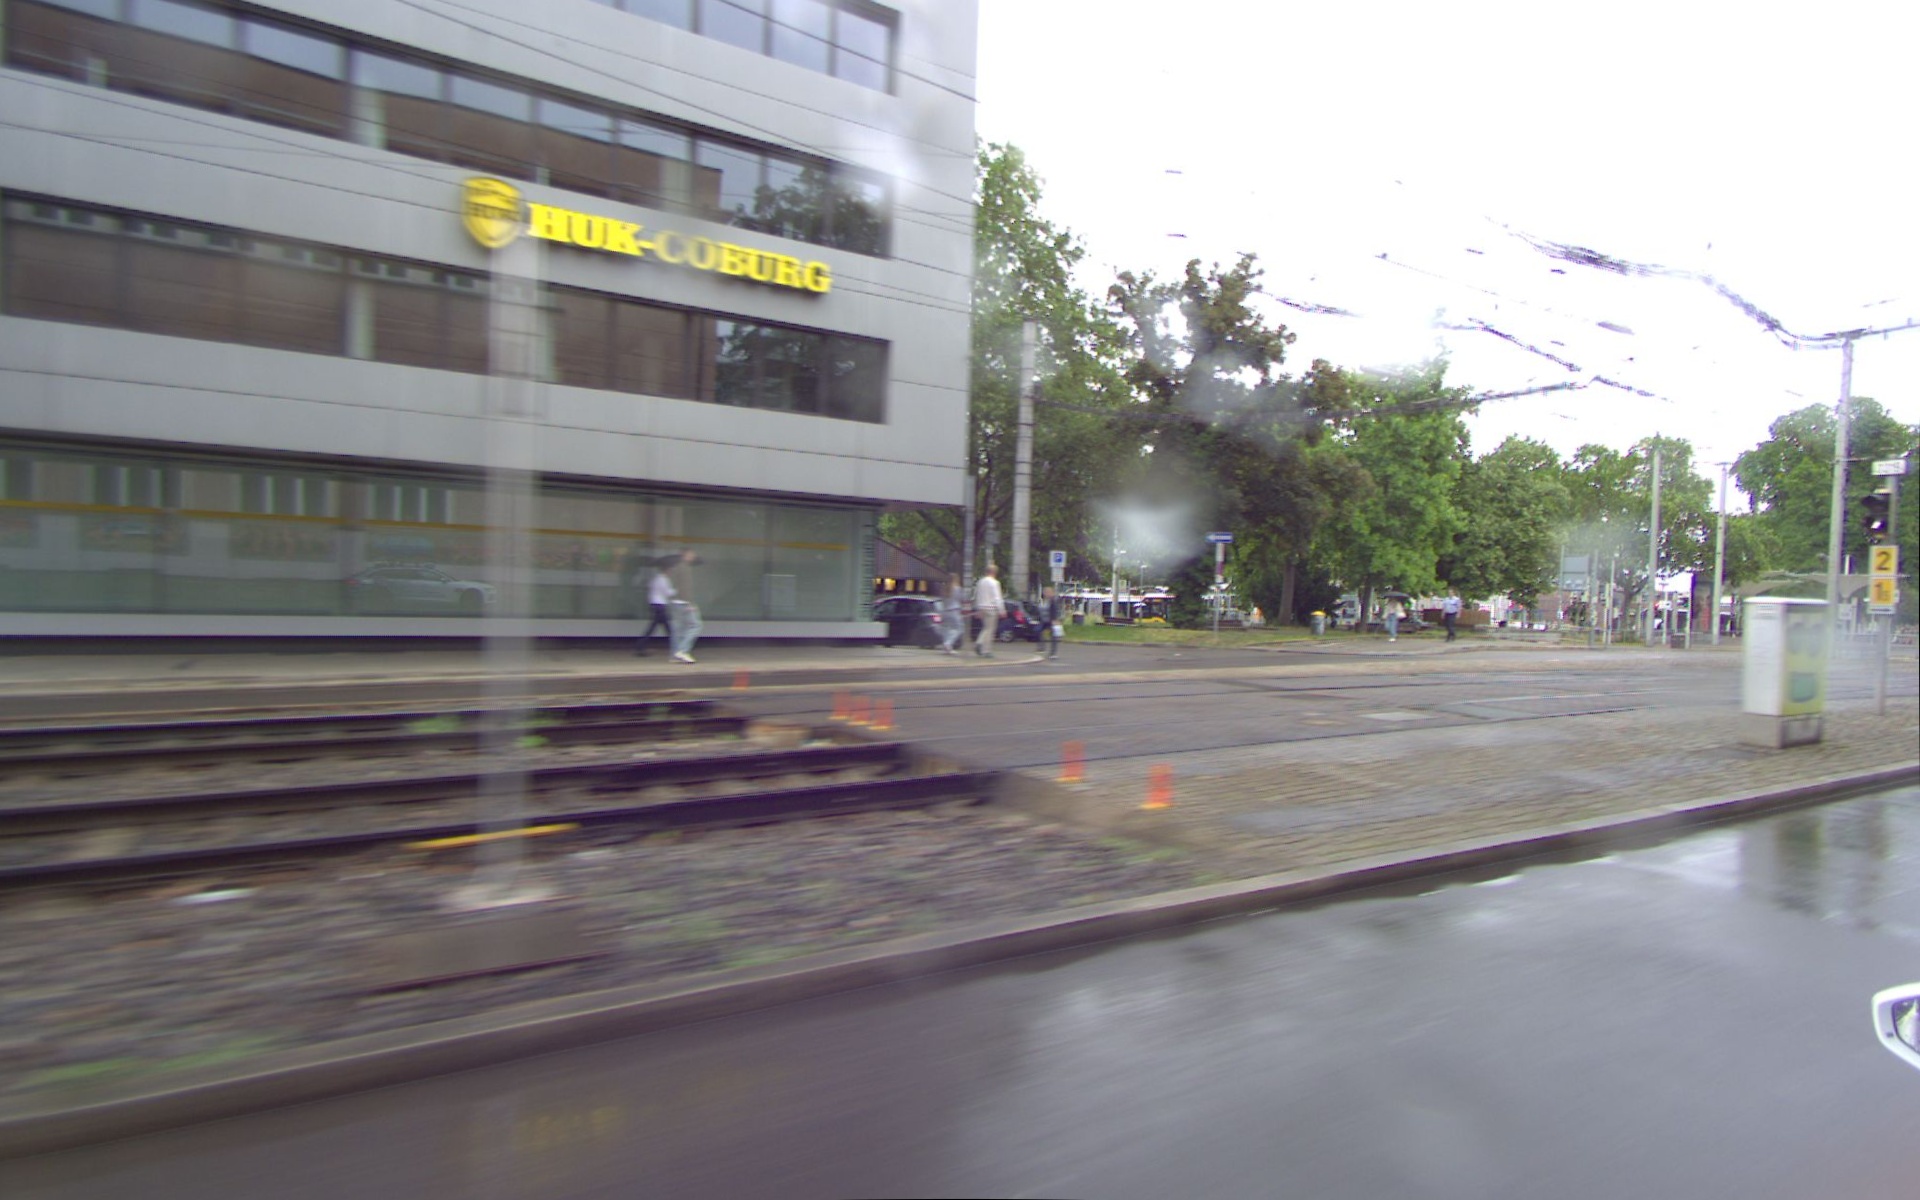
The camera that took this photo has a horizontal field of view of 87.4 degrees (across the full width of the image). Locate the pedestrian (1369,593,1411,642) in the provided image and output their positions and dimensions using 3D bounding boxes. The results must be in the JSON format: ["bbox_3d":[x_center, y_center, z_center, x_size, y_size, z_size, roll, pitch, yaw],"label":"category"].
[{"bbox_3d":[14.824,0.591,34.634,0.989,1.615,0.908,5,3,42],"label":"pedestrian"}]

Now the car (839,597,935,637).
[{"bbox_3d":[-2.875,0.641,39.459,3.481,1.467,1.698,1,0,34],"label":"car"}]

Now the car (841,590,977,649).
[{"bbox_3d":[-1.511,0.533,29.069,3.680,1.571,1.697,1,0,36],"label":"car"}]

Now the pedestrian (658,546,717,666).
[{"bbox_3d":[-4.769,0.099,17.563,0.801,2.041,0.658,1,3,-30],"label":"pedestrian"}]

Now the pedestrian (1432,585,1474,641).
[{"bbox_3d":[17.568,0.451,35.822,0.895,1.888,1.003,3,2,-1],"label":"pedestrian"}]

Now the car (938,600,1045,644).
[{"bbox_3d":[1.107,0.753,35.793,3.484,1.467,1.696,1,0,38],"label":"car"}]

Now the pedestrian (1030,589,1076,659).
[{"bbox_3d":[2.229,0.561,24.076,0.947,1.615,0.589,3,3,15],"label":"pedestrian"}]

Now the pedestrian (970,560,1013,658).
[{"bbox_3d":[0.675,0.186,21.531,0.650,2.041,0.616,4,3,22],"label":"pedestrian"}]

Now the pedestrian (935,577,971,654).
[{"bbox_3d":[-0.156,0.330,21.854,0.625,1.615,0.587,2,3,-13],"label":"pedestrian"}]

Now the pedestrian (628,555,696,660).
[{"bbox_3d":[-5.445,0.126,18.370,0.954,1.840,0.663,3,2,5],"label":"pedestrian"}]
